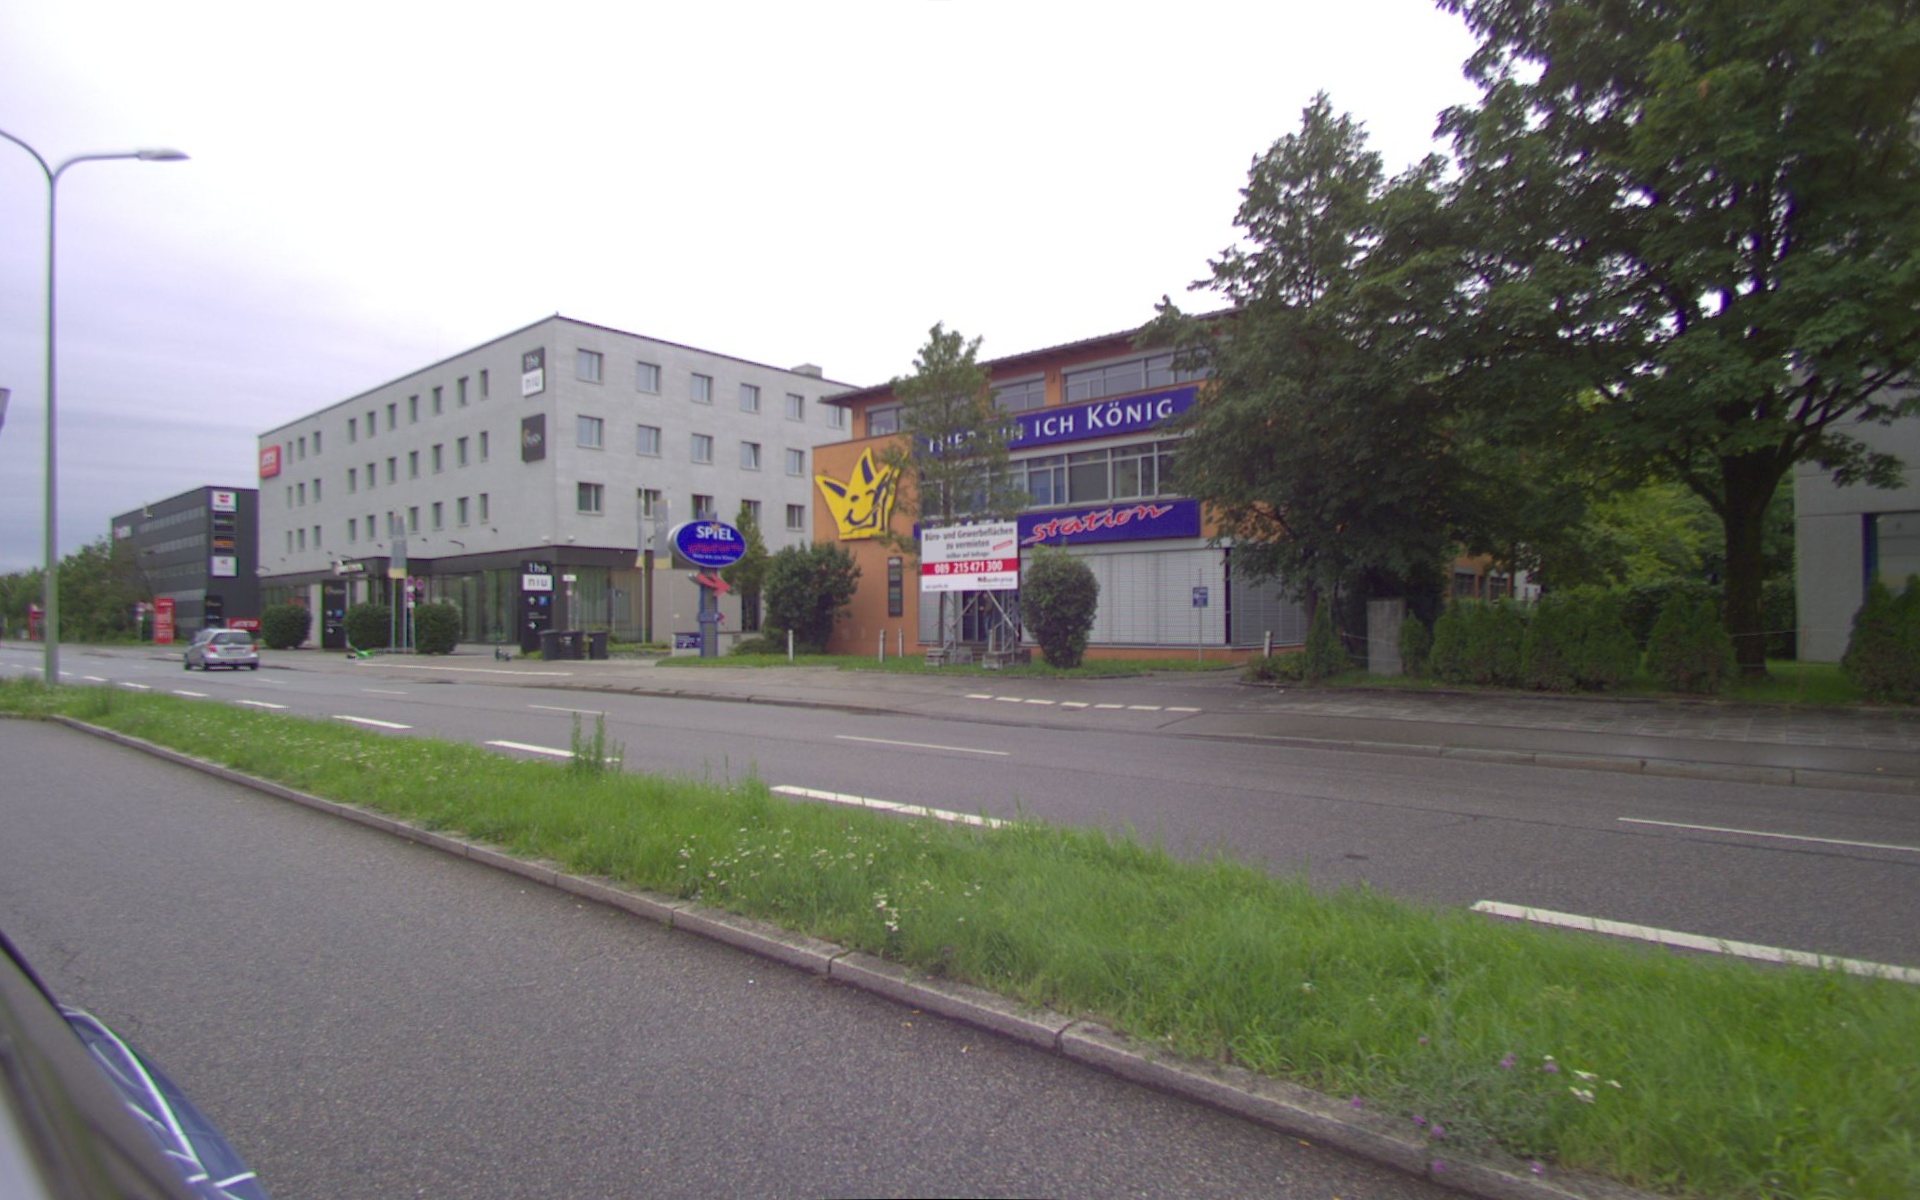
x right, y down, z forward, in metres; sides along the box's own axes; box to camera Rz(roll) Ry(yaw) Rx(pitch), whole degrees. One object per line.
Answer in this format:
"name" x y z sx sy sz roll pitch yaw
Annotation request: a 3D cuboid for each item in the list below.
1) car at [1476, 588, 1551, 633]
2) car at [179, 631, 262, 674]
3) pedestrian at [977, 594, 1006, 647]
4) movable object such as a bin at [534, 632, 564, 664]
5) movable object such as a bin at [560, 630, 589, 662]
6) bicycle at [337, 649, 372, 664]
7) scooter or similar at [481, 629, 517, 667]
"car" 19.921 0.358 36.344 1.765 1.495 3.844 -2 0 38
"car" -28.653 2.000 39.172 4.025 1.569 1.795 -2 -3 42
"pedestrian" 1.040 0.687 33.450 0.662 1.725 0.652 -2 -1 38
"movable object such as a bin" -14.495 1.678 35.699 0.655 1.086 0.729 -2 -1 41
"movable object such as a bin" -13.595 1.630 35.696 0.655 1.086 0.729 -2 -1 41
"bicycle" -25.512 2.364 42.614 1.731 0.553 0.712 -2 2 40
"scooter or similar" -16.769 1.743 36.783 1.403 1.287 0.580 -2 3 41
